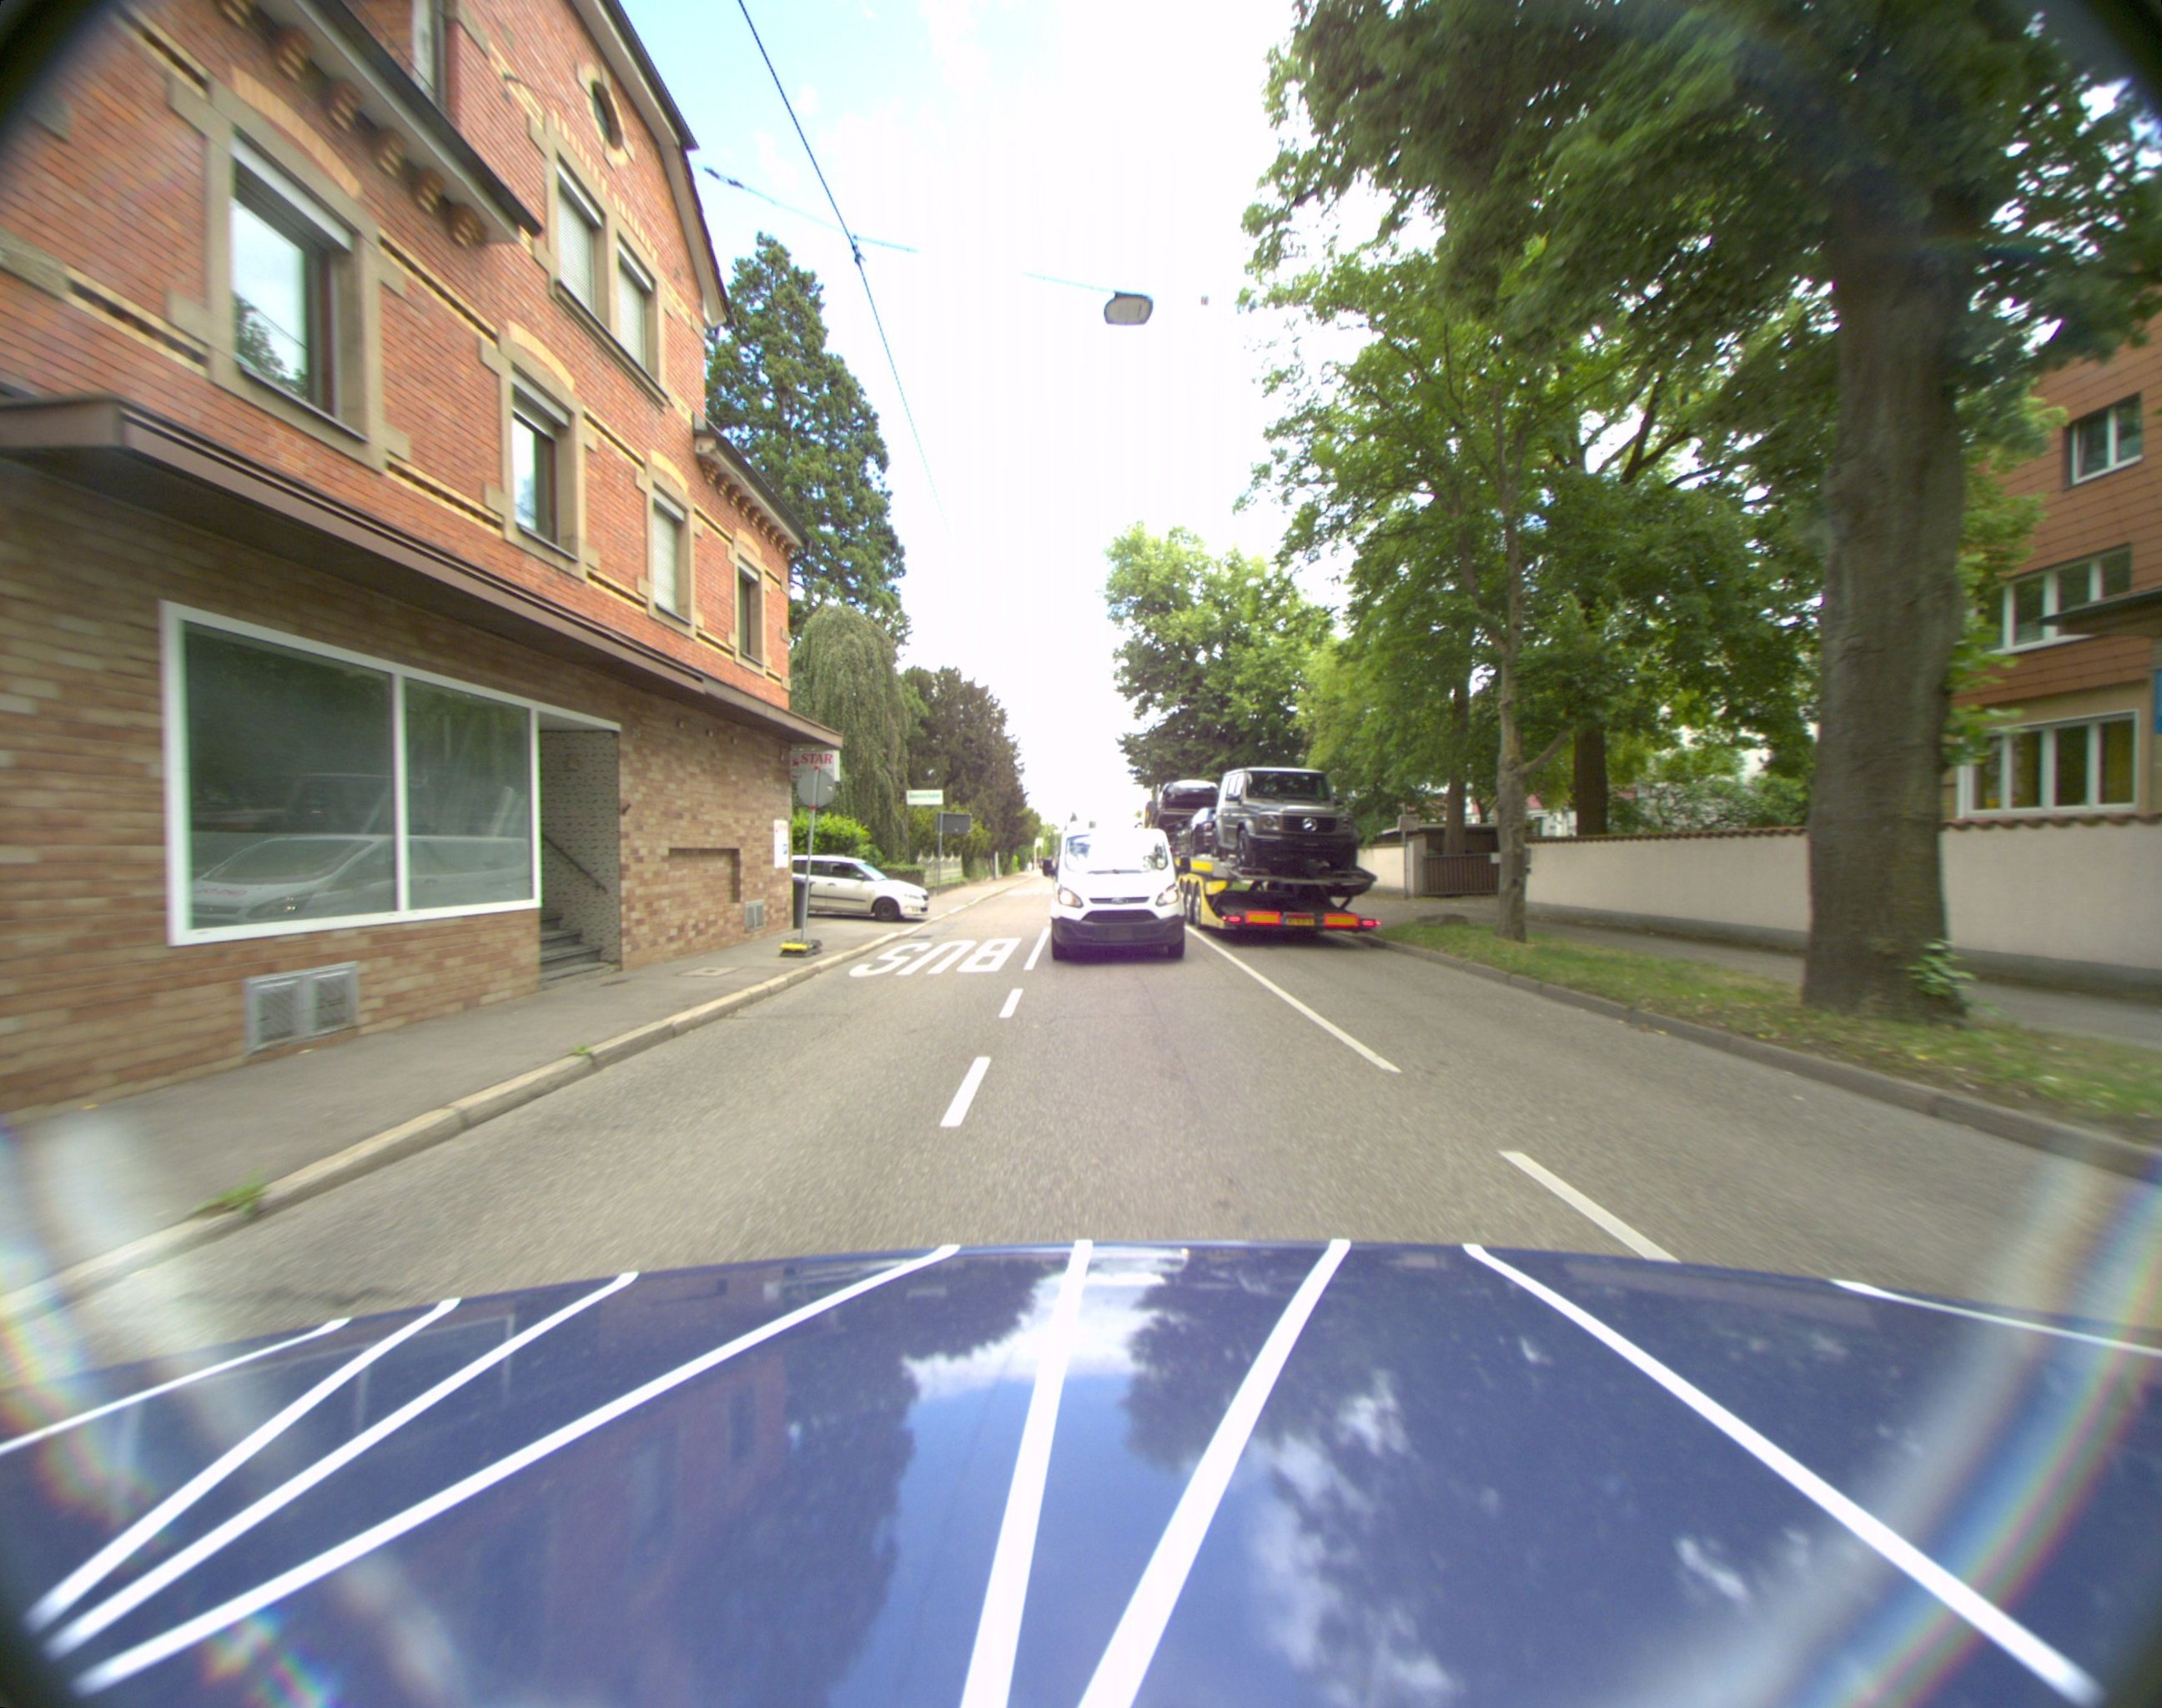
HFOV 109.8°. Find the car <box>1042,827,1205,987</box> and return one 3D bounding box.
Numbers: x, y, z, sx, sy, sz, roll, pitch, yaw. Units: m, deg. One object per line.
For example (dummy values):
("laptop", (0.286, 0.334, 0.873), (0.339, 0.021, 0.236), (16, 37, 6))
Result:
("car", (0.501, 0.632, 12.403), (1.999, 1.961, 5.714), (-2, 1, -1))

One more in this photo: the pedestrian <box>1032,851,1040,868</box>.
("pedestrian", (-4.745, 0.613, 80.596), (0.488, 1.757, 0.672), (-1, 2, 32))

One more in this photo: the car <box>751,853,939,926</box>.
("car", (-5.670, 0.825, 18.582), (4.039, 1.462, 1.600), (3, 1, -2))

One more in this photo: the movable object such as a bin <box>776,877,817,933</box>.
("movable object such as a bin", (-5.840, 1.030, 15.619), (0.608, 1.094, 0.622), (1, 1, 1))

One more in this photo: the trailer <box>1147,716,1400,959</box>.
("trailer", (3.696, -0.349, 19.307), (2.865, 3.786, 14.389), (-2, 1, 1))

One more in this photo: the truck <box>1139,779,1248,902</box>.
("truck", (3.794, -0.457, 27.507), (2.851, 3.761, 7.668), (-2, 1, 1))
